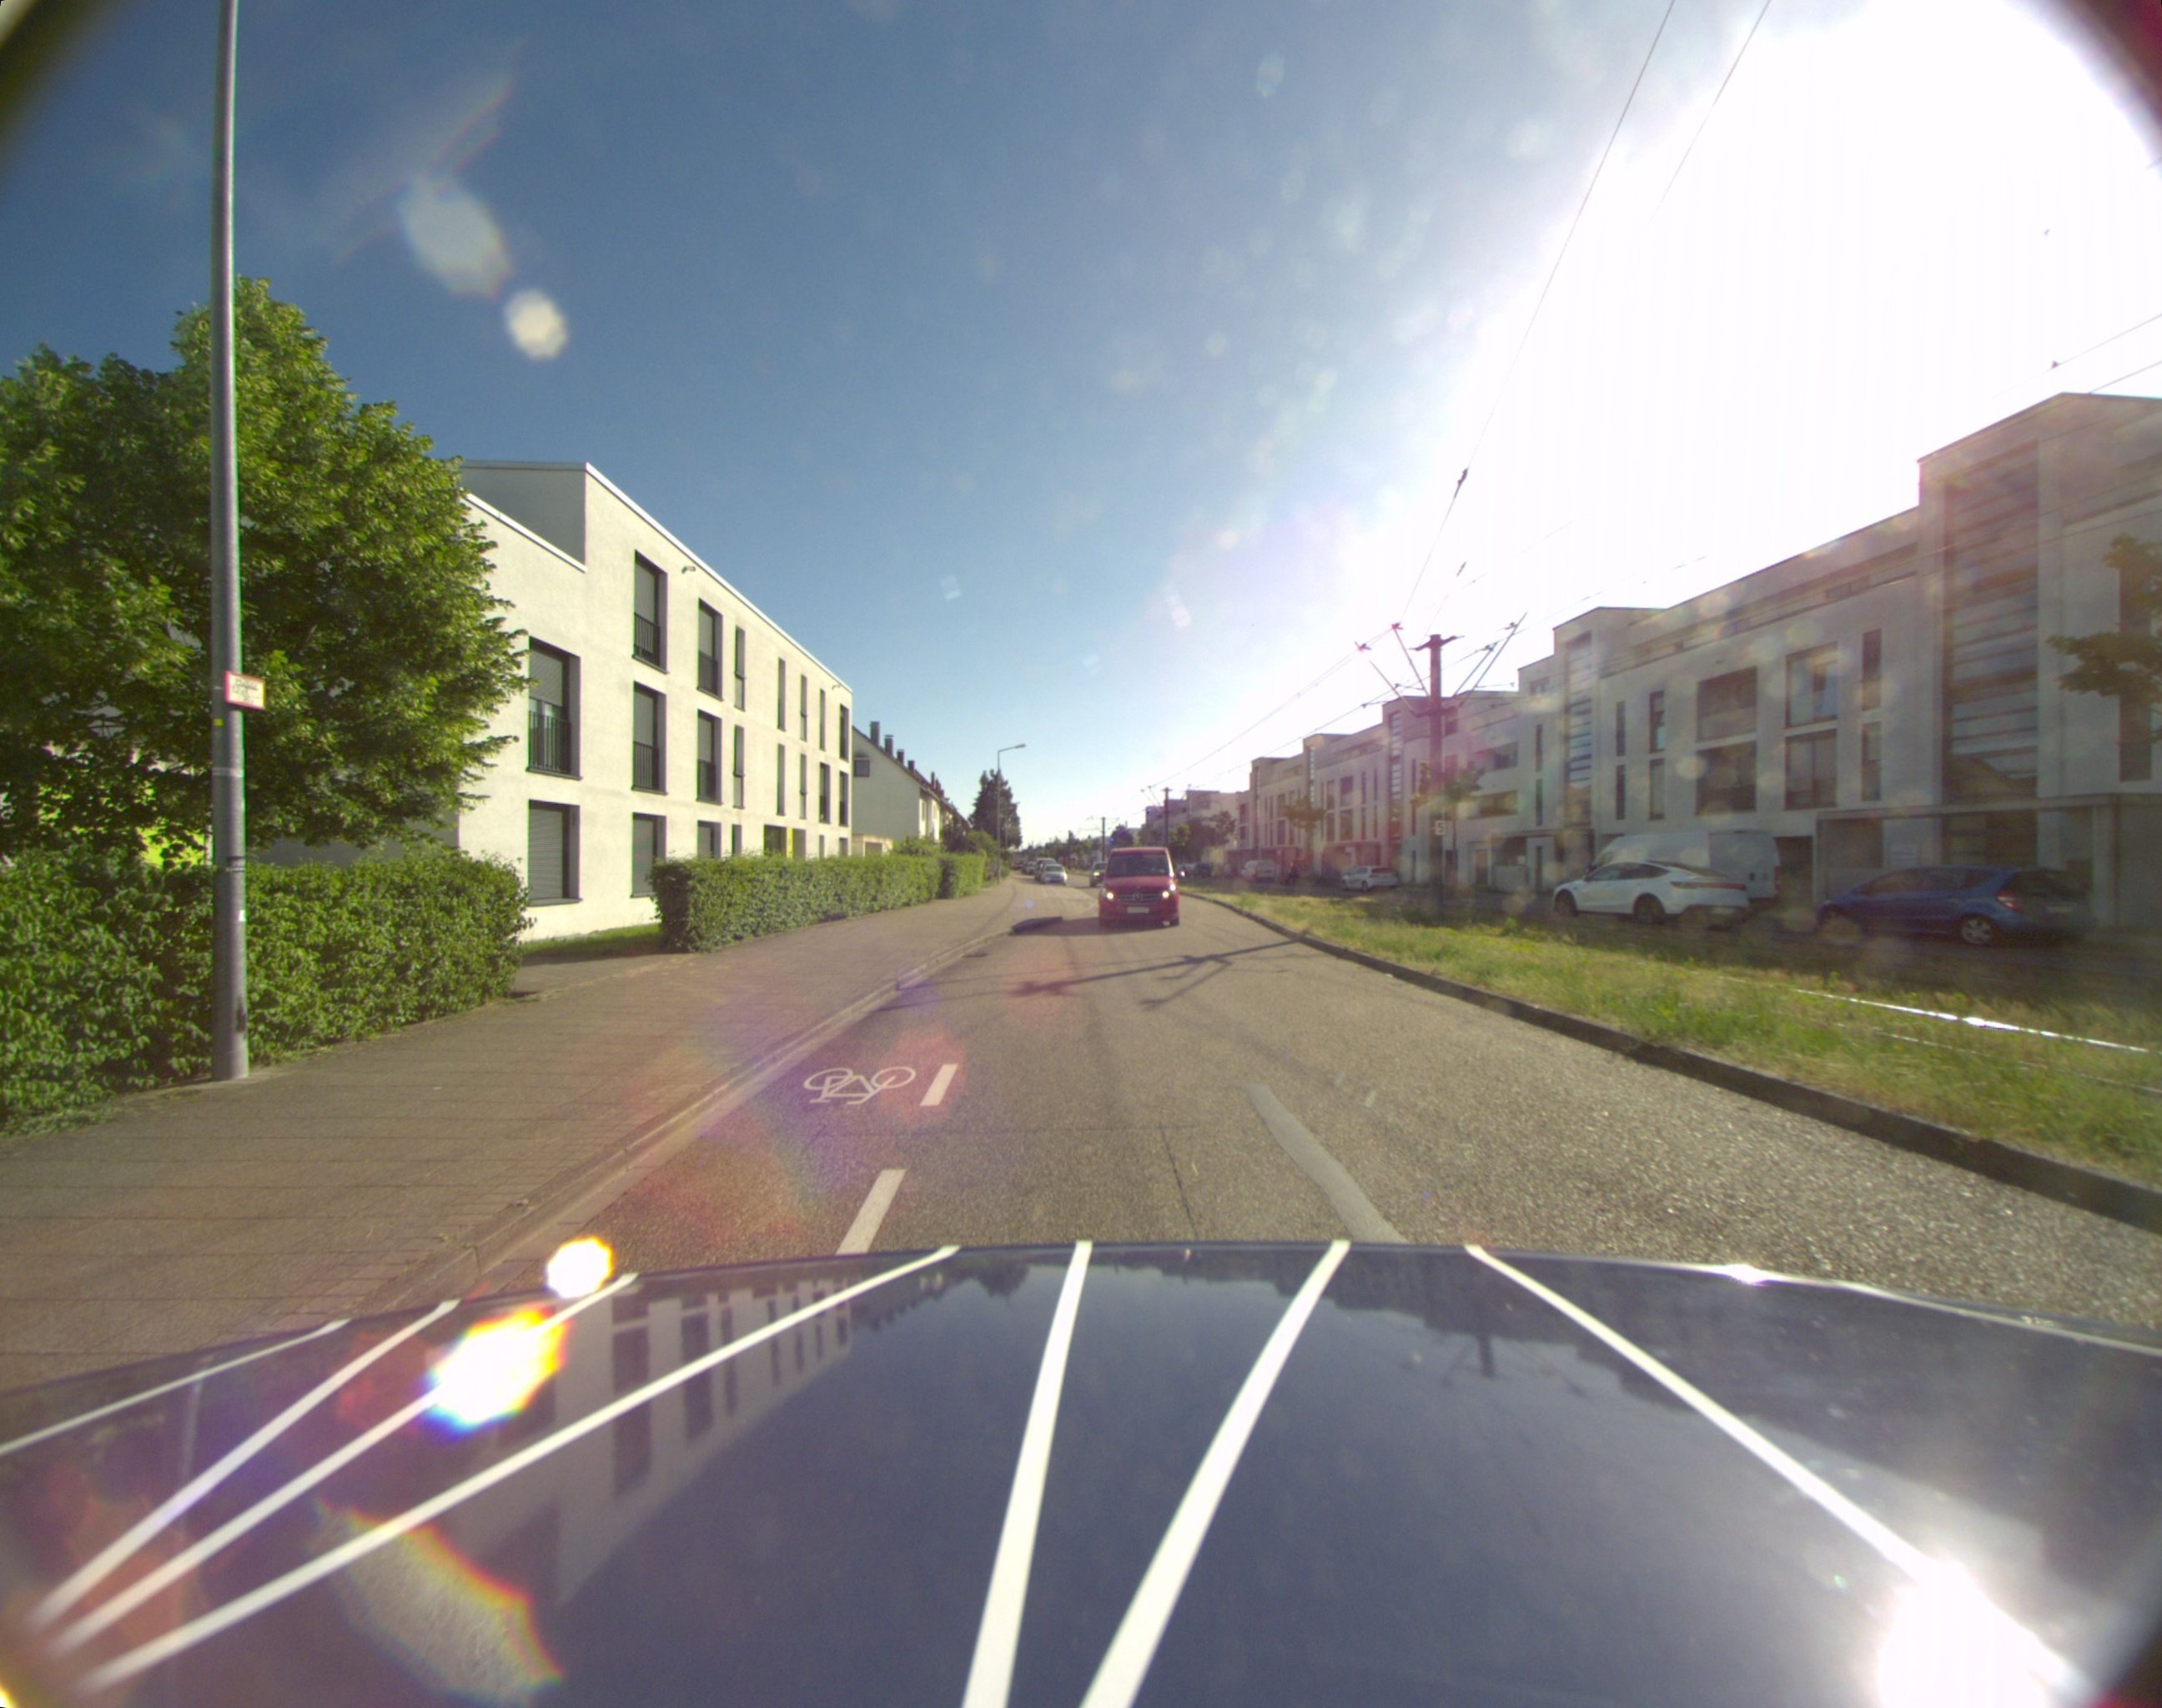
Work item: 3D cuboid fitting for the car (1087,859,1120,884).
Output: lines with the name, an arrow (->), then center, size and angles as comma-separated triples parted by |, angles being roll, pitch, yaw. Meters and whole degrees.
car -> 1.433, 1.127, 50.068 | 1.893, 1.505, 3.753 | 2, 0, -2

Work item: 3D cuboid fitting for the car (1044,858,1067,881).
car -> -1.988, 1.200, 59.412 | 1.700, 1.692, 4.013 | 2, 0, -2

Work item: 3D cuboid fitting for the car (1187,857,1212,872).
car -> 12.917, 1.140, 83.044 | 1.767, 1.590, 4.155 | -1, 0, -5

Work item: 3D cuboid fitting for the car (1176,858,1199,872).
car -> 12.380, 1.273, 88.666 | 1.767, 1.590, 4.155 | -1, 0, -5

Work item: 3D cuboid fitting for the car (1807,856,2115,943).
car -> 17.697, 0.839, 15.616 | 1.829, 1.527, 3.842 | -1, 0, -1

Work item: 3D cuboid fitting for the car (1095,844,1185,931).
car -> 1.502, 0.772, 19.760 | 1.979, 1.922, 5.207 | -2, 0, 4

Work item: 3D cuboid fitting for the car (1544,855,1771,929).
car -> 14.267, 0.872, 19.250 | 1.999, 1.586, 4.645 | 2, -1, -3

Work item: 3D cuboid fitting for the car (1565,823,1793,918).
car -> 17.336, 0.456, 22.549 | 2.146, 2.430, 5.588 | -1, 0, -3

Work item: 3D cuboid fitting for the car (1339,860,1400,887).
car -> 16.248, 1.051, 43.004 | 1.521, 1.423, 4.155 | -1, 0, -5

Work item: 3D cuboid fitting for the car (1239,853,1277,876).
car -> 14.723, 0.867, 63.396 | 1.767, 1.859, 4.155 | -1, 0, -5

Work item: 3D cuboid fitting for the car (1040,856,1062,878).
car -> -2.766, 1.164, 69.665 | 1.893, 1.951, 4.013 | 2, 0, -2

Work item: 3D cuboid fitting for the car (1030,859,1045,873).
car -> -5.332, 1.493, 93.752 | 1.700, 1.604, 4.013 | 2, 0, -2

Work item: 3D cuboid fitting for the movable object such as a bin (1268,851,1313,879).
movable object such as a bin -> 15.256, 0.810, 55.532 | 1.767, 1.926, 4.155 | -1, 0, -5

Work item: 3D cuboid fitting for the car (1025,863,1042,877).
car -> -5.398, 1.842, 87.008 | 1.700, 1.466, 4.013 | 2, 0, -2

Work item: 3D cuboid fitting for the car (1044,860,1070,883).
car -> -1.686, 1.209, 53.866 | 1.700, 1.466, 4.013 | 2, 0, -2
